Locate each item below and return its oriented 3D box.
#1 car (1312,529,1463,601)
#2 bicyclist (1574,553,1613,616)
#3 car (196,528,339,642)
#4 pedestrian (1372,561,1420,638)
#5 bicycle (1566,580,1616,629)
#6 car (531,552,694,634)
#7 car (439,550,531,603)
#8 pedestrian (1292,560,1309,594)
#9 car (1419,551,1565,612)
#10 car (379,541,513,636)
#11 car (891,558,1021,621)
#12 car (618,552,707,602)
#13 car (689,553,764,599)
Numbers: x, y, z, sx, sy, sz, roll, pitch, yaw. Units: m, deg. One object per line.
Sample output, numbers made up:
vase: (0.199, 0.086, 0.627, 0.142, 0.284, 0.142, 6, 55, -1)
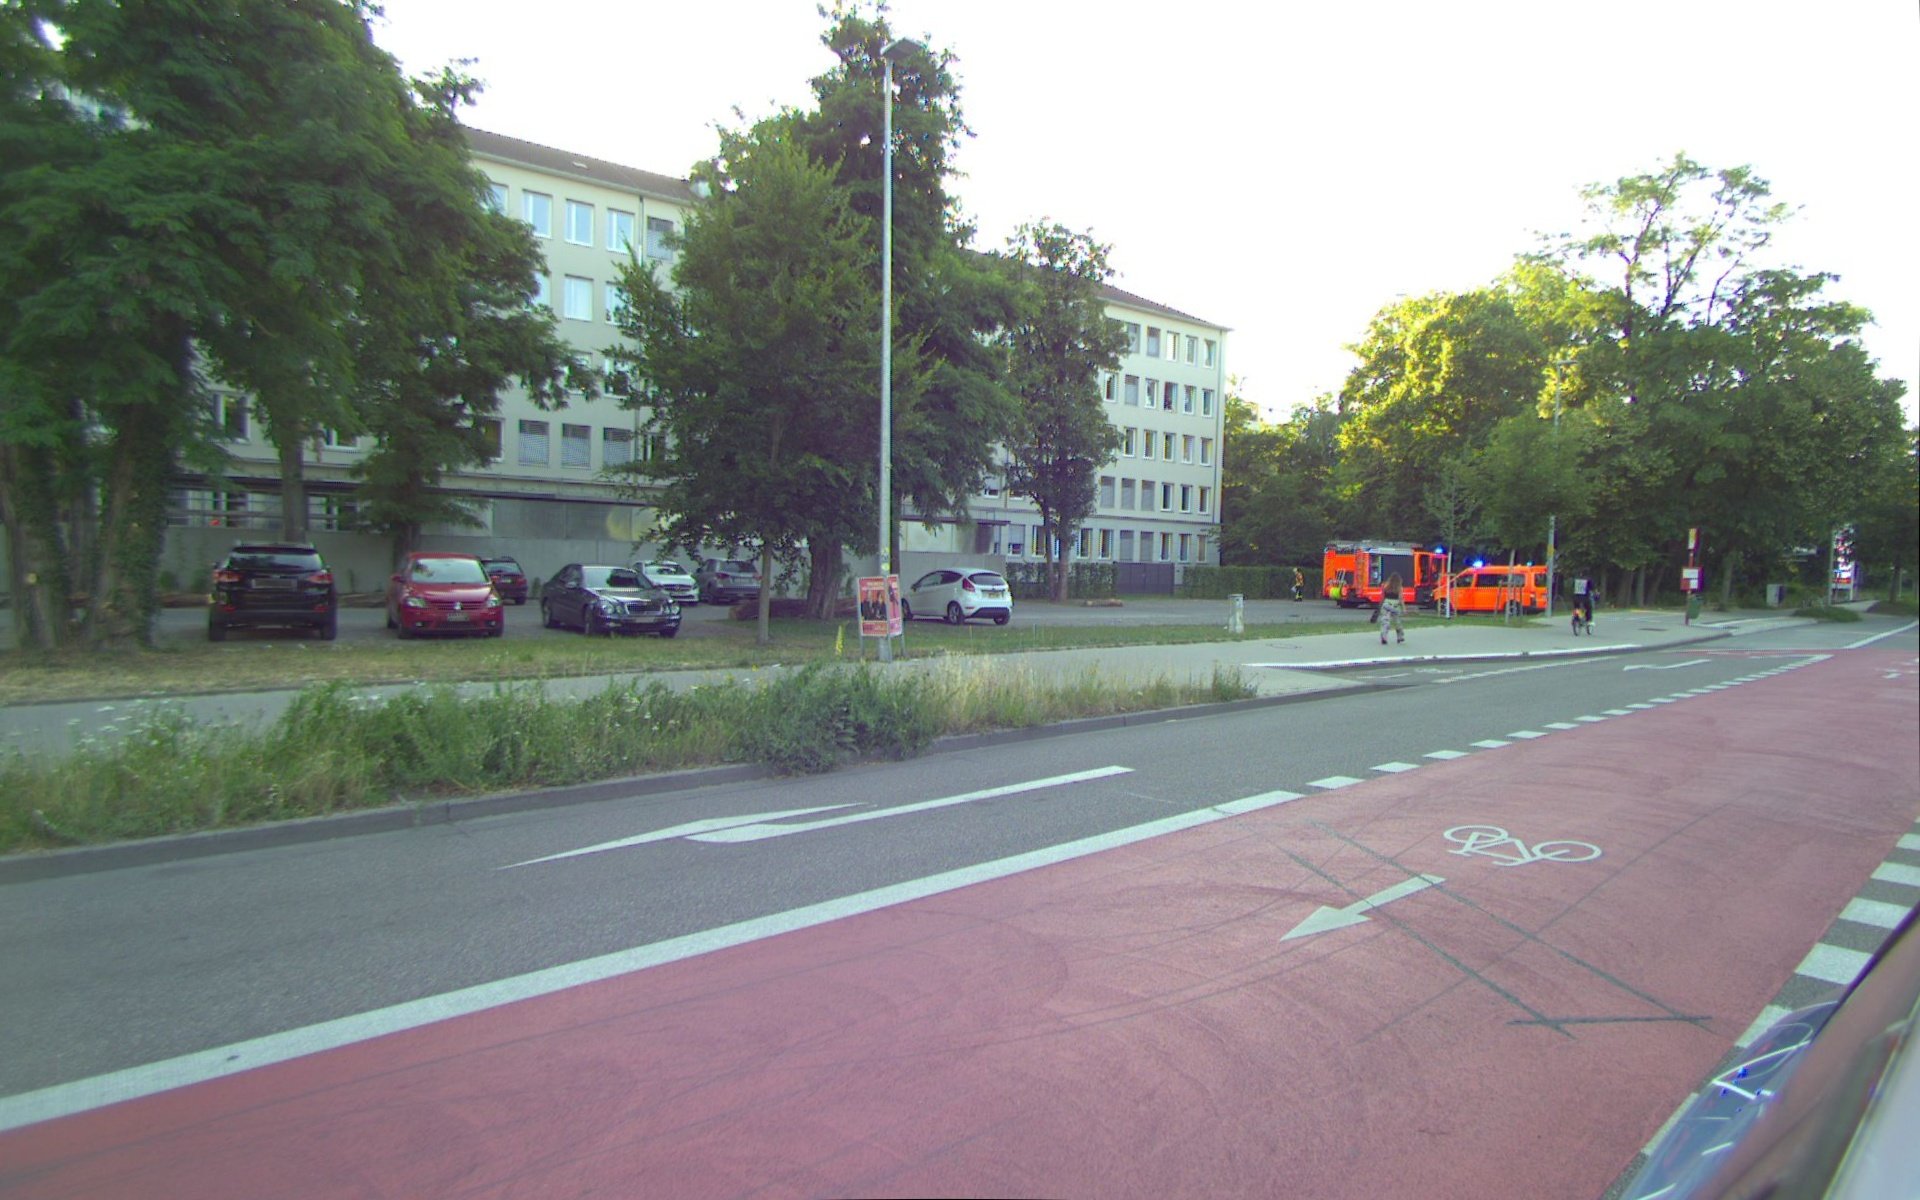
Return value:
car: (21.019, -1.665, 49.566, 8.138, 3.283, 2.775, 0, 3, -34)
bicyclist: (16.955, -0.420, 27.081, 1.020, 1.652, 0.571, 0, 2, -41)
car: (-12.234, -0.340, 17.914, 1.882, 1.761, 4.241, 0, 3, -35)
pedestrian: (9.540, -0.015, 22.129, 0.676, 1.642, 0.682, 0, 2, -41)
bicycle: (16.869, 0.093, 27.027, 1.866, 1.256, 0.571, -1, 3, -41)
car: (-7.327, -0.222, 21.042, 1.884, 1.482, 4.519, 0, 3, -37)
car: (-14.471, -0.740, 30.749, 1.738, 1.477, 3.626, 0, 3, -38)
pedestrian: (18.686, -1.267, 55.528, 0.835, 1.864, 0.678, 2, 2, 20)
car: (22.835, -0.862, 43.607, 1.963, 2.422, 5.168, 0, 3, -37)
car: (-10.052, -0.295, 19.649, 1.882, 1.630, 4.003, 0, 3, -33)
car: (-0.165, -0.324, 26.908, 1.633, 1.477, 3.667, 0, 3, -35)
car: (-9.963, -0.792, 33.736, 1.880, 1.540, 3.921, 0, 3, -32)
car: (-8.148, -0.847, 35.134, 1.734, 1.477, 3.320, 0, 3, -27)
